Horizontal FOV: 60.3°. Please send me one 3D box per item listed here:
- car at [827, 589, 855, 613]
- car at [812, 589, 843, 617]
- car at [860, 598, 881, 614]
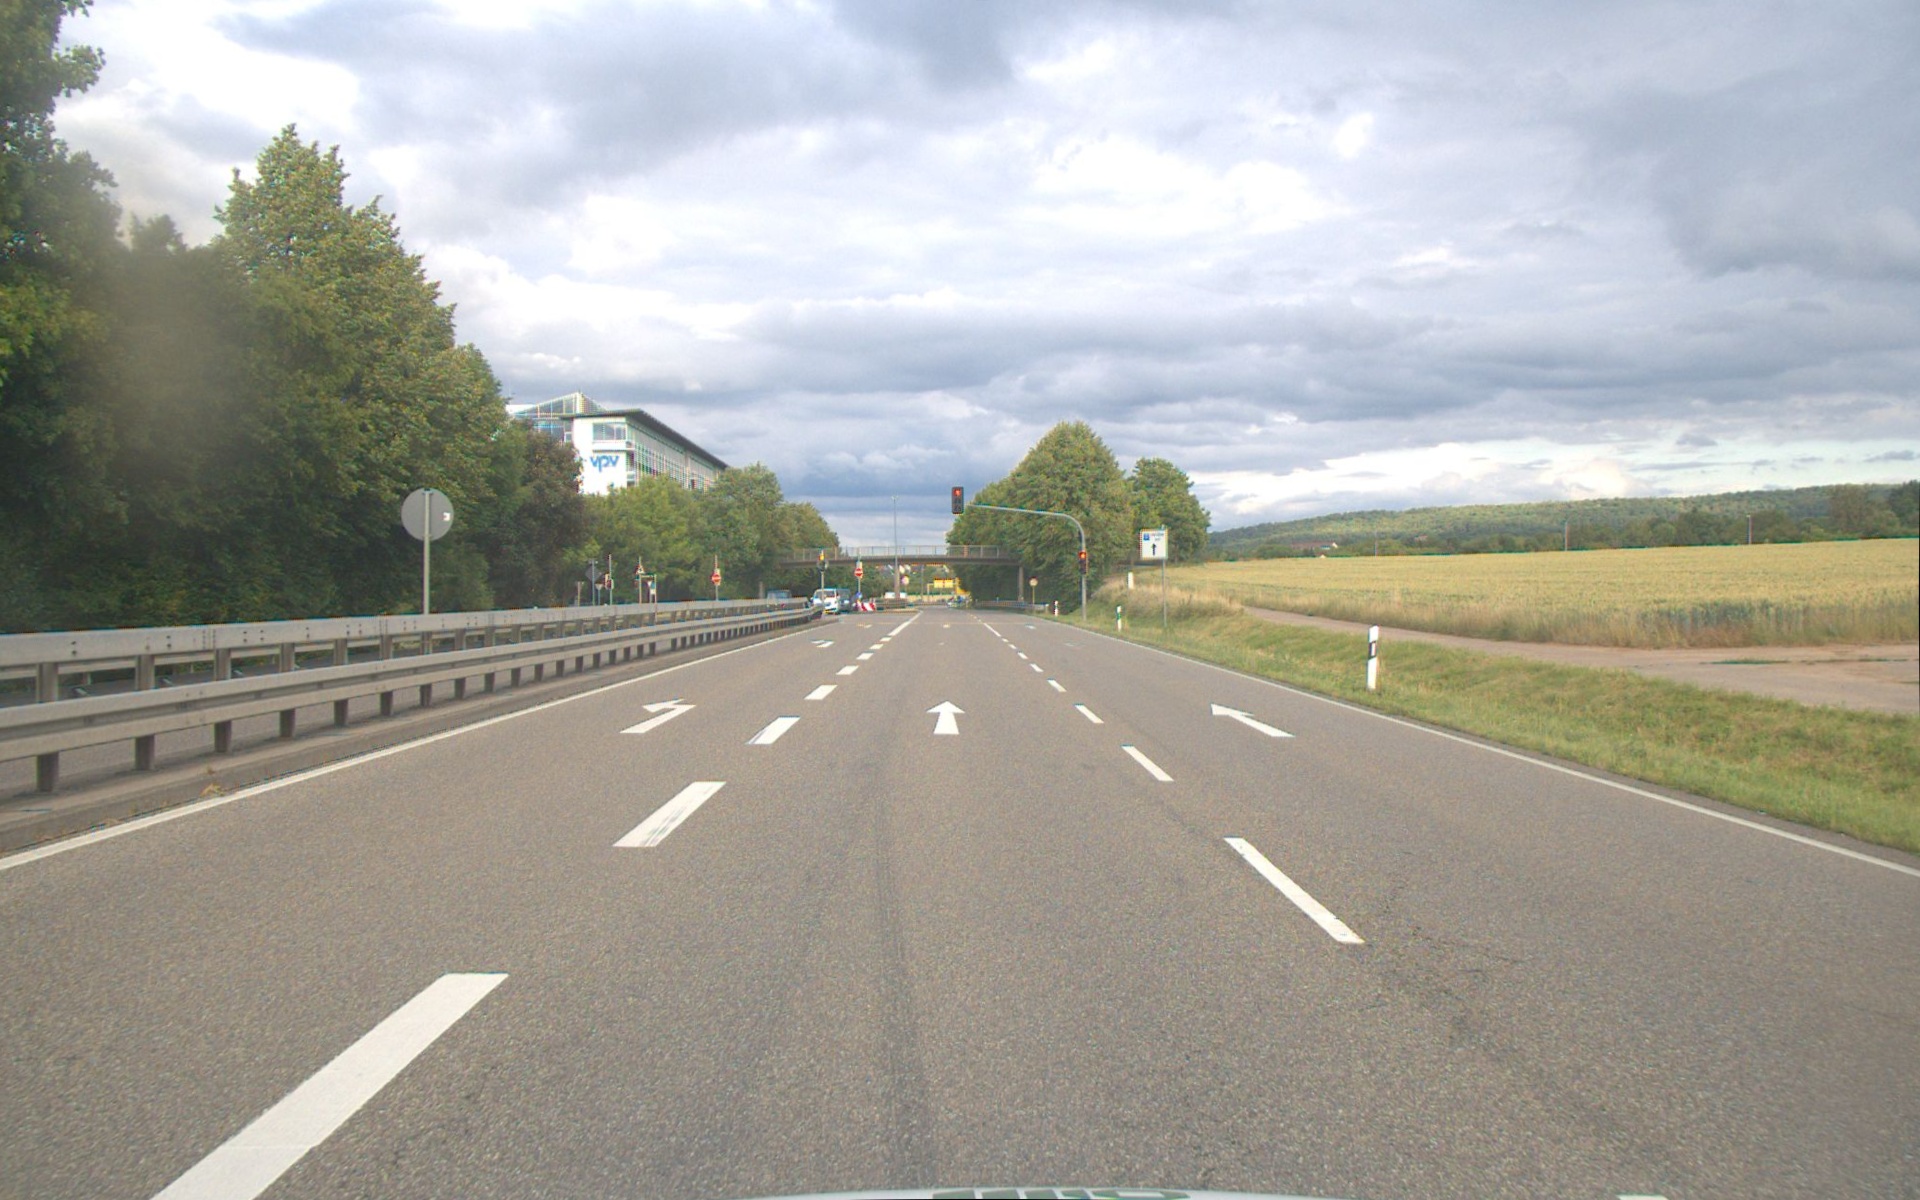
[{"bbox_3d":[-9.494,0.060,132.216,1.953,1.906,4.736,0,1,0],"label":"car"},{"bbox_3d":[-9.664,0.203,120.895,1.908,1.906,4.736,0,1,0],"label":"car"},{"bbox_3d":[-6.447,0.444,118.935,1.330,1.111,2.922,0,1,0],"label":"car"}]
